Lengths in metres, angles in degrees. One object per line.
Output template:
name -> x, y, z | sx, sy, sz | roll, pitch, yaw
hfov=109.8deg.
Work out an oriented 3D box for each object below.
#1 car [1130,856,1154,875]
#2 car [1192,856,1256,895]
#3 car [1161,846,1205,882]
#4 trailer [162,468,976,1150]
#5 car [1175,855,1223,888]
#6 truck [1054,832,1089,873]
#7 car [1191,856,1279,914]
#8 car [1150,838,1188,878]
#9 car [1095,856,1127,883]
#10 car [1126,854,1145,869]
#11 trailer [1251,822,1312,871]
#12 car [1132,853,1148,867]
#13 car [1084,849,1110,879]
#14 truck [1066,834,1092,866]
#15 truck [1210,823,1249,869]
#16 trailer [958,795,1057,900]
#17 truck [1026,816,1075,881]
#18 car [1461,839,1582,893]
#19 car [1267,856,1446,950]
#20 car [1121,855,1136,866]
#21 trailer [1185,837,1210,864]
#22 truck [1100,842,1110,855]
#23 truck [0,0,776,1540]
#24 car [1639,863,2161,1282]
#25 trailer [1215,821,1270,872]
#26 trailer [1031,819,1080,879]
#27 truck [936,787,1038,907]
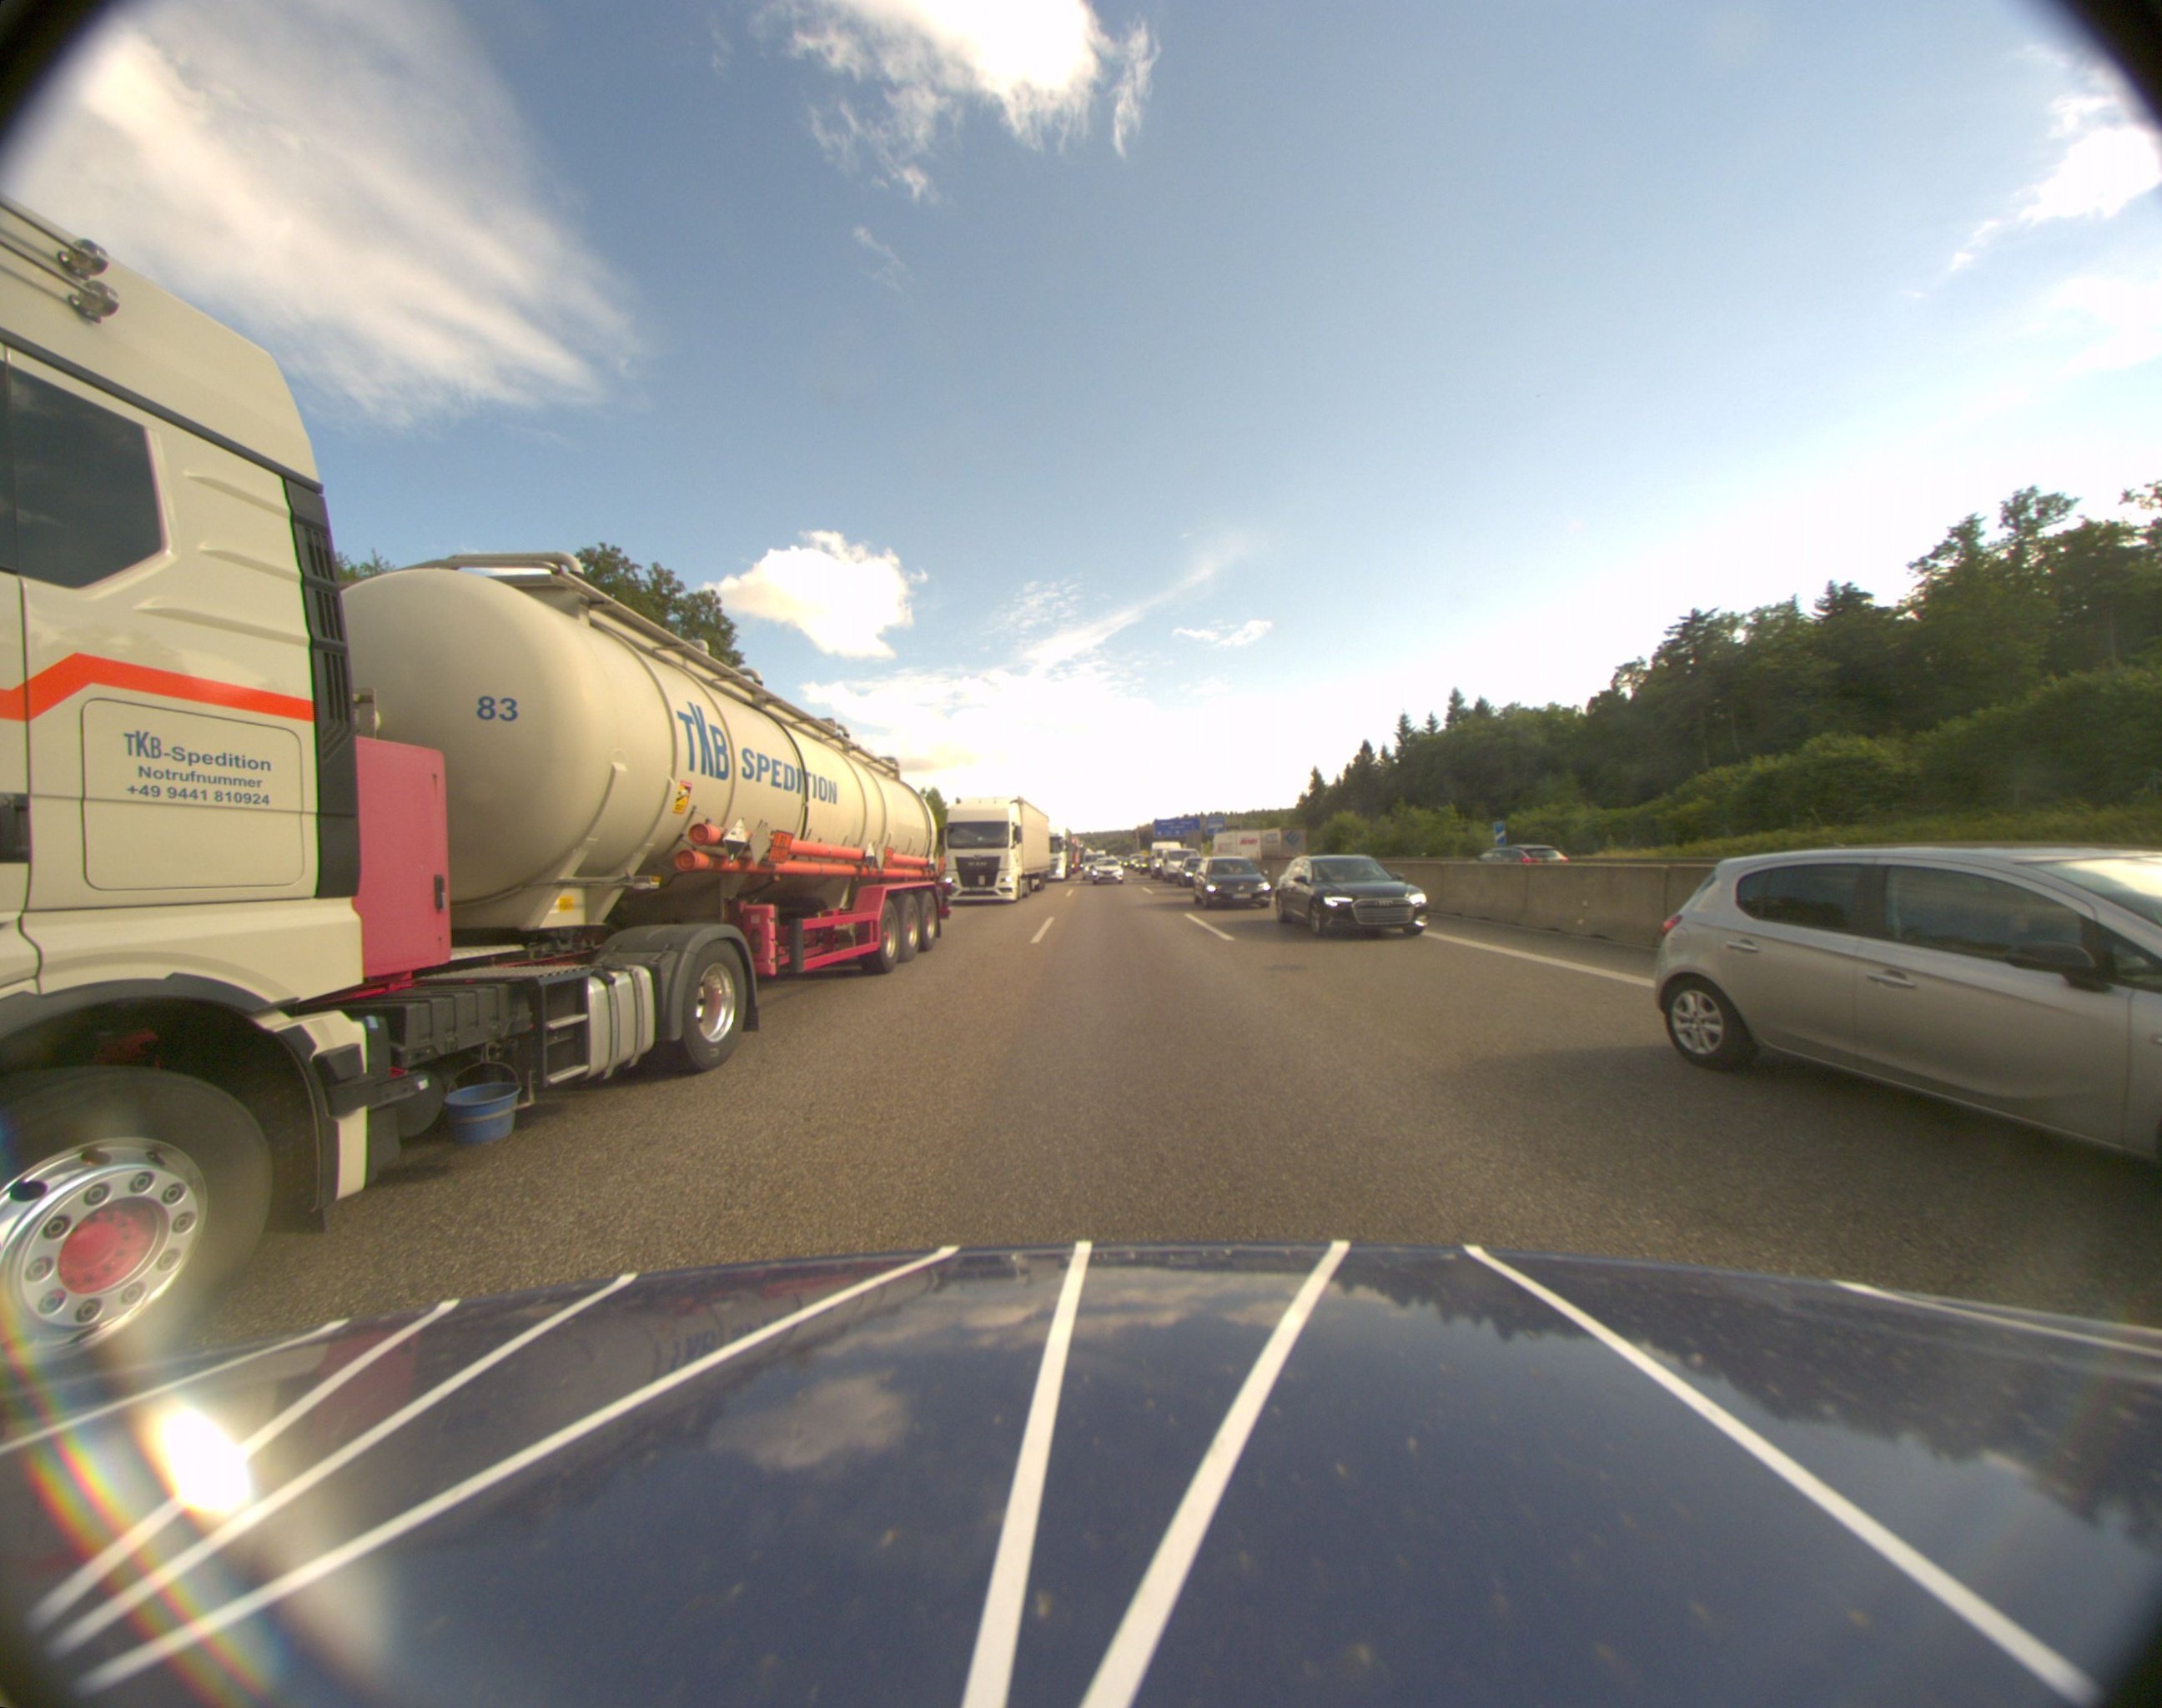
car -> 5.111, 0.950, 63.988 | 1.809, 1.423, 3.660 | -2, 0, 2
car -> 5.724, 0.815, 30.920 | 1.809, 1.423, 4.667 | -2, 0, 2
car -> 5.898, 0.556, 44.517 | 1.947, 1.953, 4.848 | -2, 0, 2
trailer -> -3.854, -0.257, 10.138 | 2.805, 4.003, 11.183 | -2, 0, 2
car -> 5.774, 0.825, 37.573 | 1.809, 1.423, 3.994 | -2, 0, 2
truck -> -0.938, -0.217, 83.770 | 2.840, 4.178, 12.046 | -2, 1, 3
car -> 4.450, 0.837, 22.568 | 1.915, 1.469, 4.569 | -2, 0, 3
car -> 6.080, 0.259, 53.129 | 2.054, 2.557, 5.862 | -1, 0, 2
car -> 1.792, 0.898, 46.273 | 1.809, 1.487, 4.667 | -1, 0, 2
car -> 5.869, 0.794, 81.598 | 1.809, 1.423, 3.660 | -2, 0, 2
trailer -> 21.872, -0.857, 84.128 | 2.934, 4.802, 14.652 | -2, 1, 1
car -> 7.722, 0.771, 100.104 | 1.920, 1.785, 3.811 | -2, 0, 2
car -> 1.185, 0.688, 56.013 | 1.809, 2.052, 4.770 | -2, 0, 2
truck -> -0.232, -0.546, 107.978 | 2.840, 4.178, 12.046 | -2, 1, 3
truck -> 17.521, -0.957, 89.907 | 3.096, 5.071, 7.141 | -2, 1, 1
trailer -> -3.102, -0.287, 36.544 | 2.832, 4.047, 13.373 | -2, 0, 2
truck -> -2.039, -0.360, 53.321 | 2.841, 4.177, 5.708 | -2, 0, 2
car -> 16.334, 0.425, 28.495 | 1.857, 1.799, 4.624 | -2, 0, 1
car -> 5.111, 0.817, 14.895 | 1.887, 1.463, 4.852 | -2, 0, 2
car -> 6.924, 0.948, 110.677 | 1.920, 1.535, 3.811 | -2, 0, 2
trailer -> 24.093, -0.829, 157.400 | 3.050, 5.250, 13.834 | -2, 1, 1
truck -> 8.033, -1.922, 252.759 | 2.840, 4.178, 12.046 | -2, 1, 3
truck -> -4.127, -0.245, 3.417 | 2.809, 4.020, 5.904 | -2, 0, 2
car -> 4.794, 0.807, 3.344 | 1.751, 1.457, 4.041 | -1, 0, 1
trailer -> 17.472, -0.832, 83.307 | 3.096, 5.044, 13.833 | -2, 1, 0
trailer -> -1.797, -0.349, 60.607 | 2.841, 4.177, 13.614 | -2, 0, 2
truck -> -3.406, -0.257, 29.016 | 2.840, 4.048, 5.708 | -2, 0, 2
